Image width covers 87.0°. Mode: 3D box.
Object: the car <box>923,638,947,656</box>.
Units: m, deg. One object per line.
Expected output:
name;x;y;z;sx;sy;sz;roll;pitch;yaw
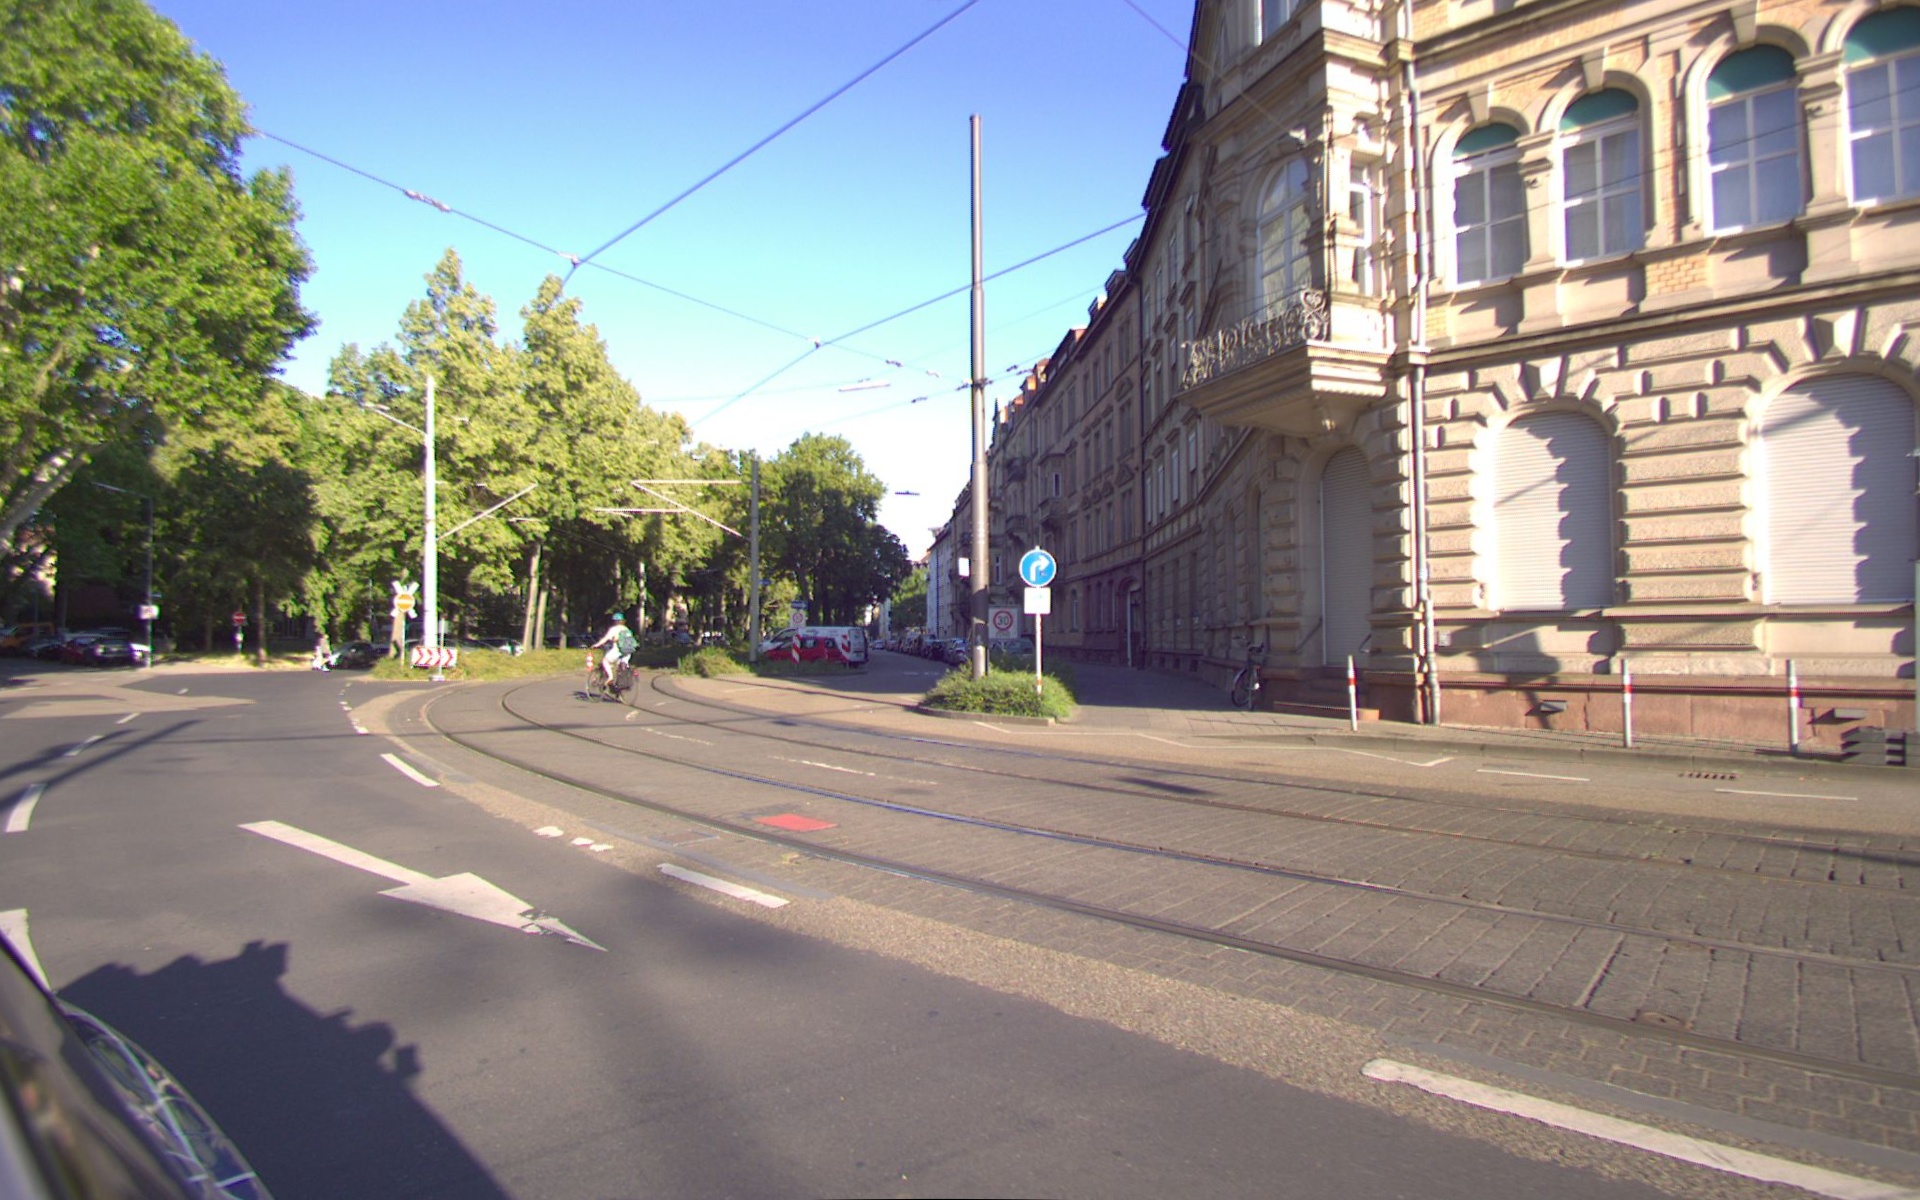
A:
car;-1.947;3.613;77.817;1.715;1.364;3.691;0;-2;-4

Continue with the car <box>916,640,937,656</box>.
car;-2.918;4.135;87.877;1.715;1.364;3.691;0;-2;-4

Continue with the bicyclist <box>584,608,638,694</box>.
bicyclist;-7.357;1.064;21.343;1.059;1.776;0.599;-2;-3;38

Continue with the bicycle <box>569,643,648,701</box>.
bicycle;-7.456;1.500;21.411;1.949;1.184;0.603;-2;-3;37

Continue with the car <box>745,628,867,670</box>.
car;-6.813;2.179;44.992;5.012;1.802;1.990;-1;-2;15

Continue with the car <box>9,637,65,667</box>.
car;-58.551;3.279;64.178;4.219;1.871;1.750;-2;-3;35

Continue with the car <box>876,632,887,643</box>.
car;-14.041;6.753;180.837;1.970;1.796;4.004;-1;0;-5

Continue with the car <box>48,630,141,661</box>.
car;-50.799;2.646;59.456;1.531;1.775;3.881;-2;-3;34

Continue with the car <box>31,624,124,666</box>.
car;-52.768;2.691;60.578;1.531;2.424;3.881;-2;-3;34

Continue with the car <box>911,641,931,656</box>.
car;-3.638;4.454;93.444;1.715;1.364;3.691;0;-2;-4

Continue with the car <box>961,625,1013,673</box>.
car;1.138;2.161;45.406;1.971;2.029;4.638;0;-2;-3

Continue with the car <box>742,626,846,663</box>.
car;-6.999;1.893;42.768;3.963;1.519;1.859;-1;-2;15

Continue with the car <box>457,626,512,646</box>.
car;-42.323;3.229;90.062;4.411;1.763;1.986;-1;-2;21

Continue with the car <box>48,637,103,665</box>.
car;-48.150;2.780;55.066;3.921;1.460;1.515;-2;-3;38

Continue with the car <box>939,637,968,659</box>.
car;-0.459;3.058;65.159;1.715;1.364;3.690;0;-2;-3

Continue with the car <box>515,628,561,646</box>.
car;-42.559;3.752;102.134;3.960;1.763;1.877;-1;-2;13

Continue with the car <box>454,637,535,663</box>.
car;-24.901;2.662;54.206;3.648;1.364;1.735;-1;-2;10

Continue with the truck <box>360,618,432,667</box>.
truck;-33.282;2.503;59.877;1.969;2.804;4.890;0;-2;-6

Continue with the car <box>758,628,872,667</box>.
car;-6.907;2.267;48.274;5.012;1.823;1.990;-1;-2;15

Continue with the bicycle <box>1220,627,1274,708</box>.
bicycle;4.897;1.114;17.389;0.638;1.276;2.679;-1;-2;11

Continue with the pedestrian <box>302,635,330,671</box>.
pedestrian;-32.439;2.660;51.014;0.826;1.781;0.880;-1;-2;27

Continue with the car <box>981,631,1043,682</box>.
car;1.522;1.629;29.905;1.715;1.425;3.431;0;-2;2

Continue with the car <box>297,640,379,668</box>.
car;-33.312;2.887;54.317;1.924;1.409;3.998;0;-2;1

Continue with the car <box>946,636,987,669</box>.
car;0.317;2.779;54.353;1.971;1.718;4.266;0;-2;-3

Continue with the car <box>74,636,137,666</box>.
car;-43.498;2.598;51.498;3.626;1.460;1.719;-2;-3;38

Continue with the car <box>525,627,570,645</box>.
car;-42.716;3.753;104.873;3.960;1.763;1.877;-1;-2;13

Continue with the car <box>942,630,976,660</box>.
car;-0.084;2.657;60.427;1.816;1.718;3.690;0;-2;-3

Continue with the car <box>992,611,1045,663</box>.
car;1.962;1.275;34.700;1.715;1.674;3.997;0;-2;2

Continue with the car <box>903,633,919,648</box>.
car;-5.629;4.627;115.877;1.777;1.769;4.002;0;-2;-3

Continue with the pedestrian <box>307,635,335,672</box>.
pedestrian;-31.746;2.648;50.305;0.826;1.781;0.880;-1;-2;27
